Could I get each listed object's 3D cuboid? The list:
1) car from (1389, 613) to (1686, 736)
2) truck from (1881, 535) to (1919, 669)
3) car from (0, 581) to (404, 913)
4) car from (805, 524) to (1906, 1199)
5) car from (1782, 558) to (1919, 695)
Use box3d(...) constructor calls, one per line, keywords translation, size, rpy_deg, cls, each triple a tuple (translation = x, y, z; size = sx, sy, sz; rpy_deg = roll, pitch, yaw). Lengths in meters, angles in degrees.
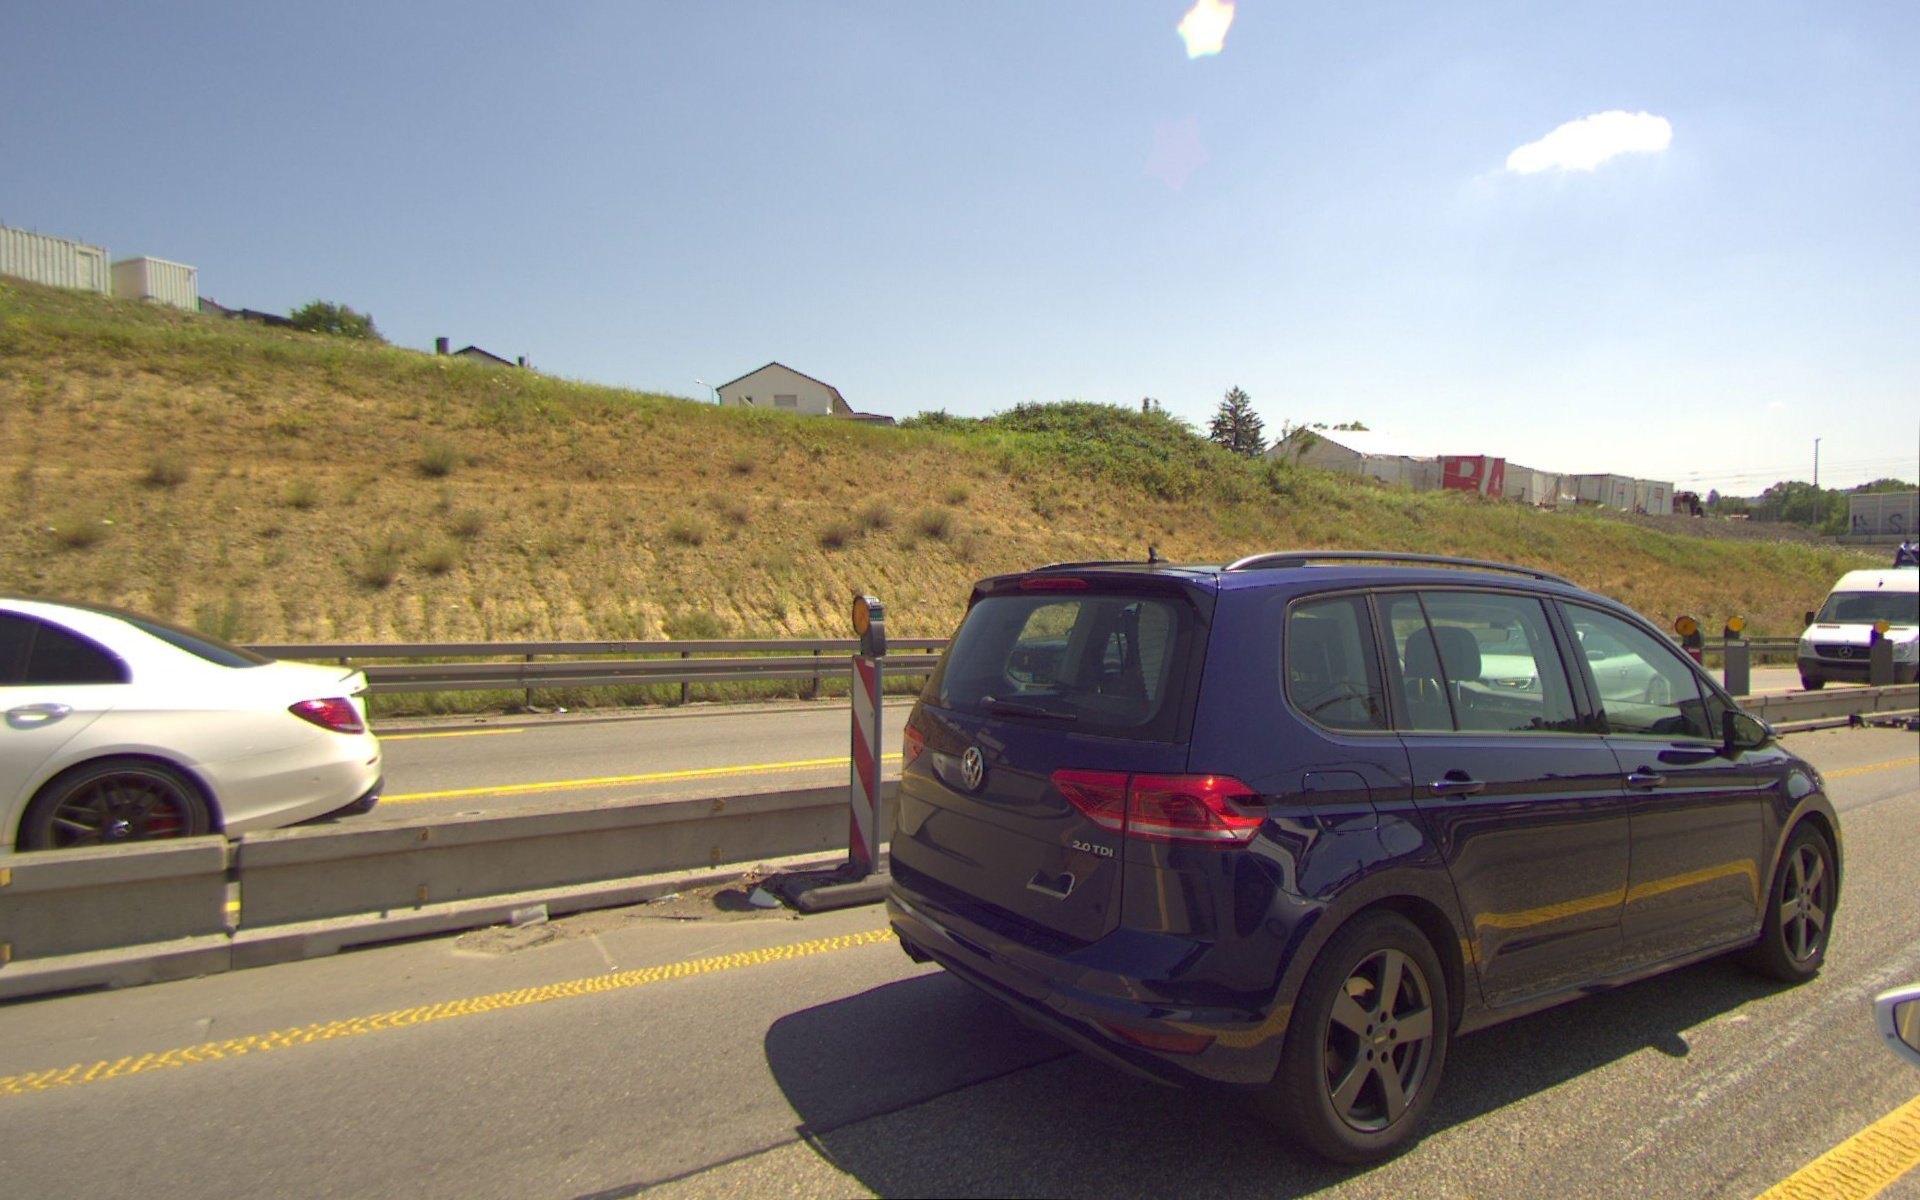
box3d(translation=(8.341, 0.957, 14.385), size=(4.587, 1.466, 1.790), rpy_deg=(1, 1, -33), cls="car")
box3d(translation=(30.945, 0.077, 31.162), size=(3.952, 4.069, 2.347), rpy_deg=(1, 1, -30), cls="truck")
box3d(translation=(-5.541, 0.639, 4.831), size=(4.888, 1.483, 1.949), rpy_deg=(1, 1, -34), cls="car")
box3d(translation=(1.847, 0.683, 4.084), size=(4.599, 1.741, 1.766), rpy_deg=(0, 1, -32), cls="car")
box3d(translation=(20.691, 0.538, 21.906), size=(6.928, 2.642, 1.984), rpy_deg=(1, 1, -31), cls="car")
